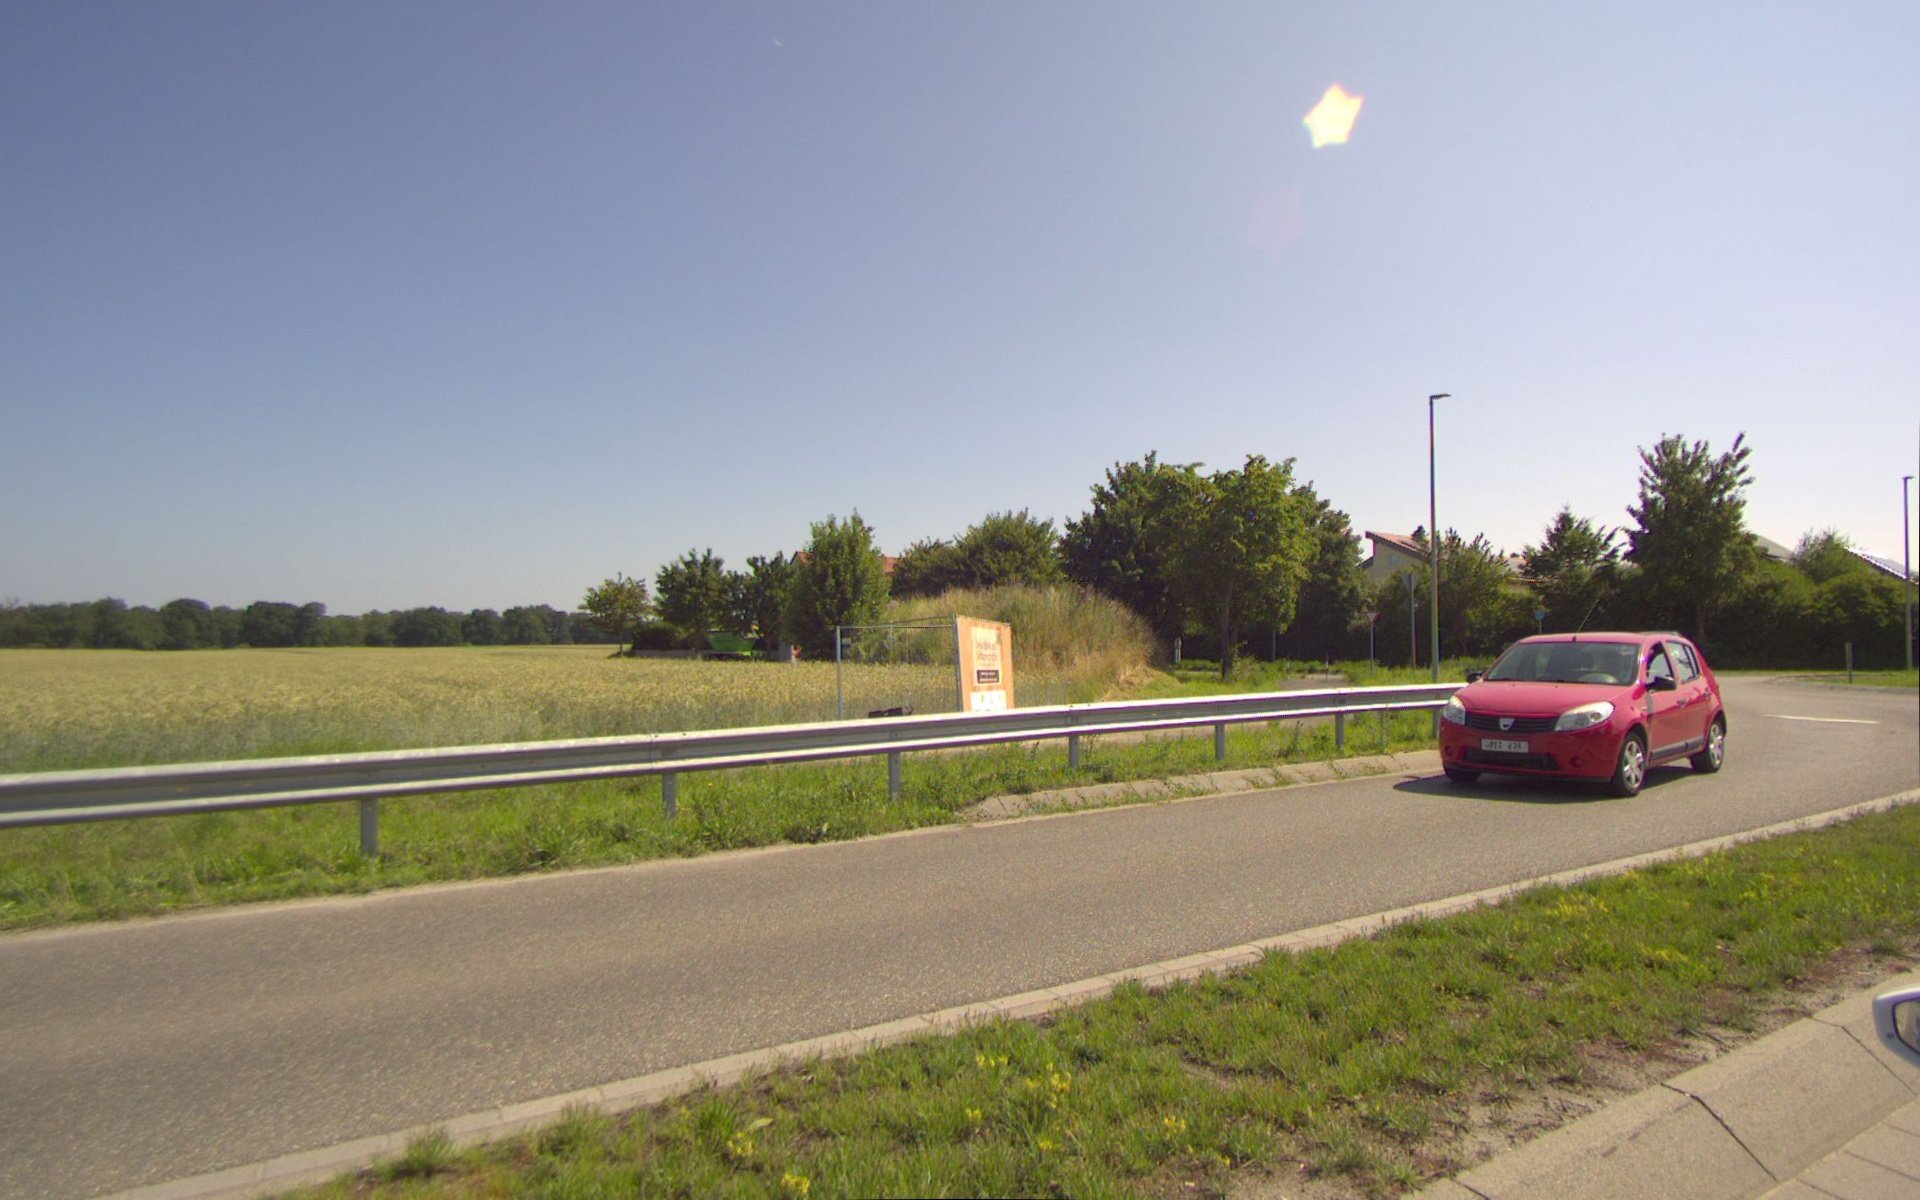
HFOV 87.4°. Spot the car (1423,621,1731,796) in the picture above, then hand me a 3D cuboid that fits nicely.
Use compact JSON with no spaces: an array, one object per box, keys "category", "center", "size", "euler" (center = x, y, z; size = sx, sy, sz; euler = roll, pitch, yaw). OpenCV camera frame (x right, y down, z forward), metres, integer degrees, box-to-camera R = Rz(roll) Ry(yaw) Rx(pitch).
[{"category":"car","center":[6.564,1.017,10.544],"size":[3.771,1.510,1.614],"euler":[2,-3,-40]}]

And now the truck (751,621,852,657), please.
[{"category":"truck","center":[-12.220,2.970,77.145],"size":[7.541,2.684,2.520],"euler":[-1,-1,24]}]

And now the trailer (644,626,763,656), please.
[{"category":"trailer","center":[-20.598,3.229,80.403],"size":[10.293,2.308,1.999],"euler":[-1,-1,25]}]

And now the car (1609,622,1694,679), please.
[{"category":"car","center":[19.980,1.430,29.162],"size":[1.719,1.542,3.823],"euler":[-3,-3,31]}]
